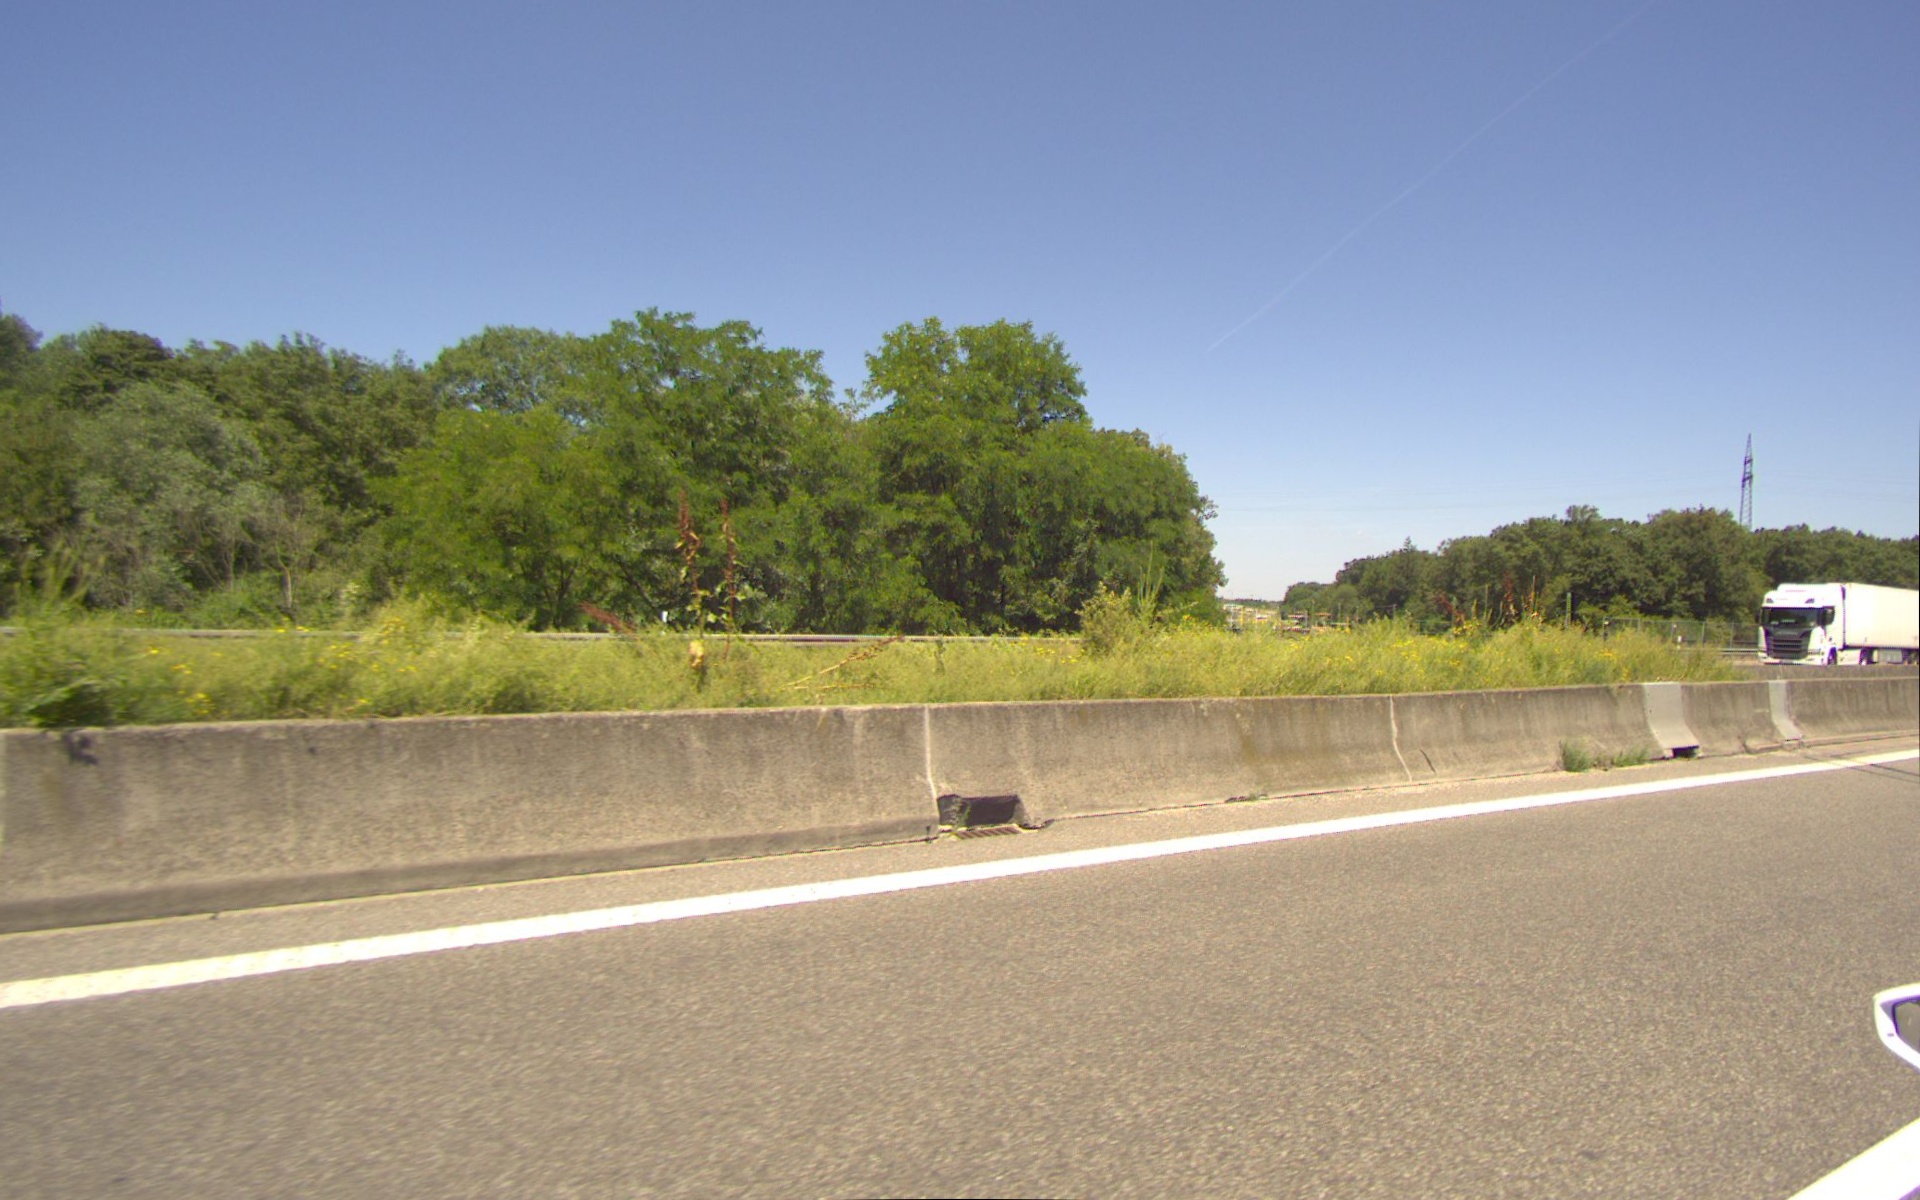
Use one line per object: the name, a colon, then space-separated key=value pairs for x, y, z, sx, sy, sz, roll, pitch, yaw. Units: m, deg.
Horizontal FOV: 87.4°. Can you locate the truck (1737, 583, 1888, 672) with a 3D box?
truck: x=41.409 y=1.366 z=48.705 sx=8.191 sy=4.029 sz=3.034 roll=2 pitch=0 yaw=-31

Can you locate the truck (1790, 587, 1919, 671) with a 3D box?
truck: x=47.630 y=1.572 z=52.406 sx=11.019 sy=4.029 sz=3.034 roll=2 pitch=0 yaw=-31
